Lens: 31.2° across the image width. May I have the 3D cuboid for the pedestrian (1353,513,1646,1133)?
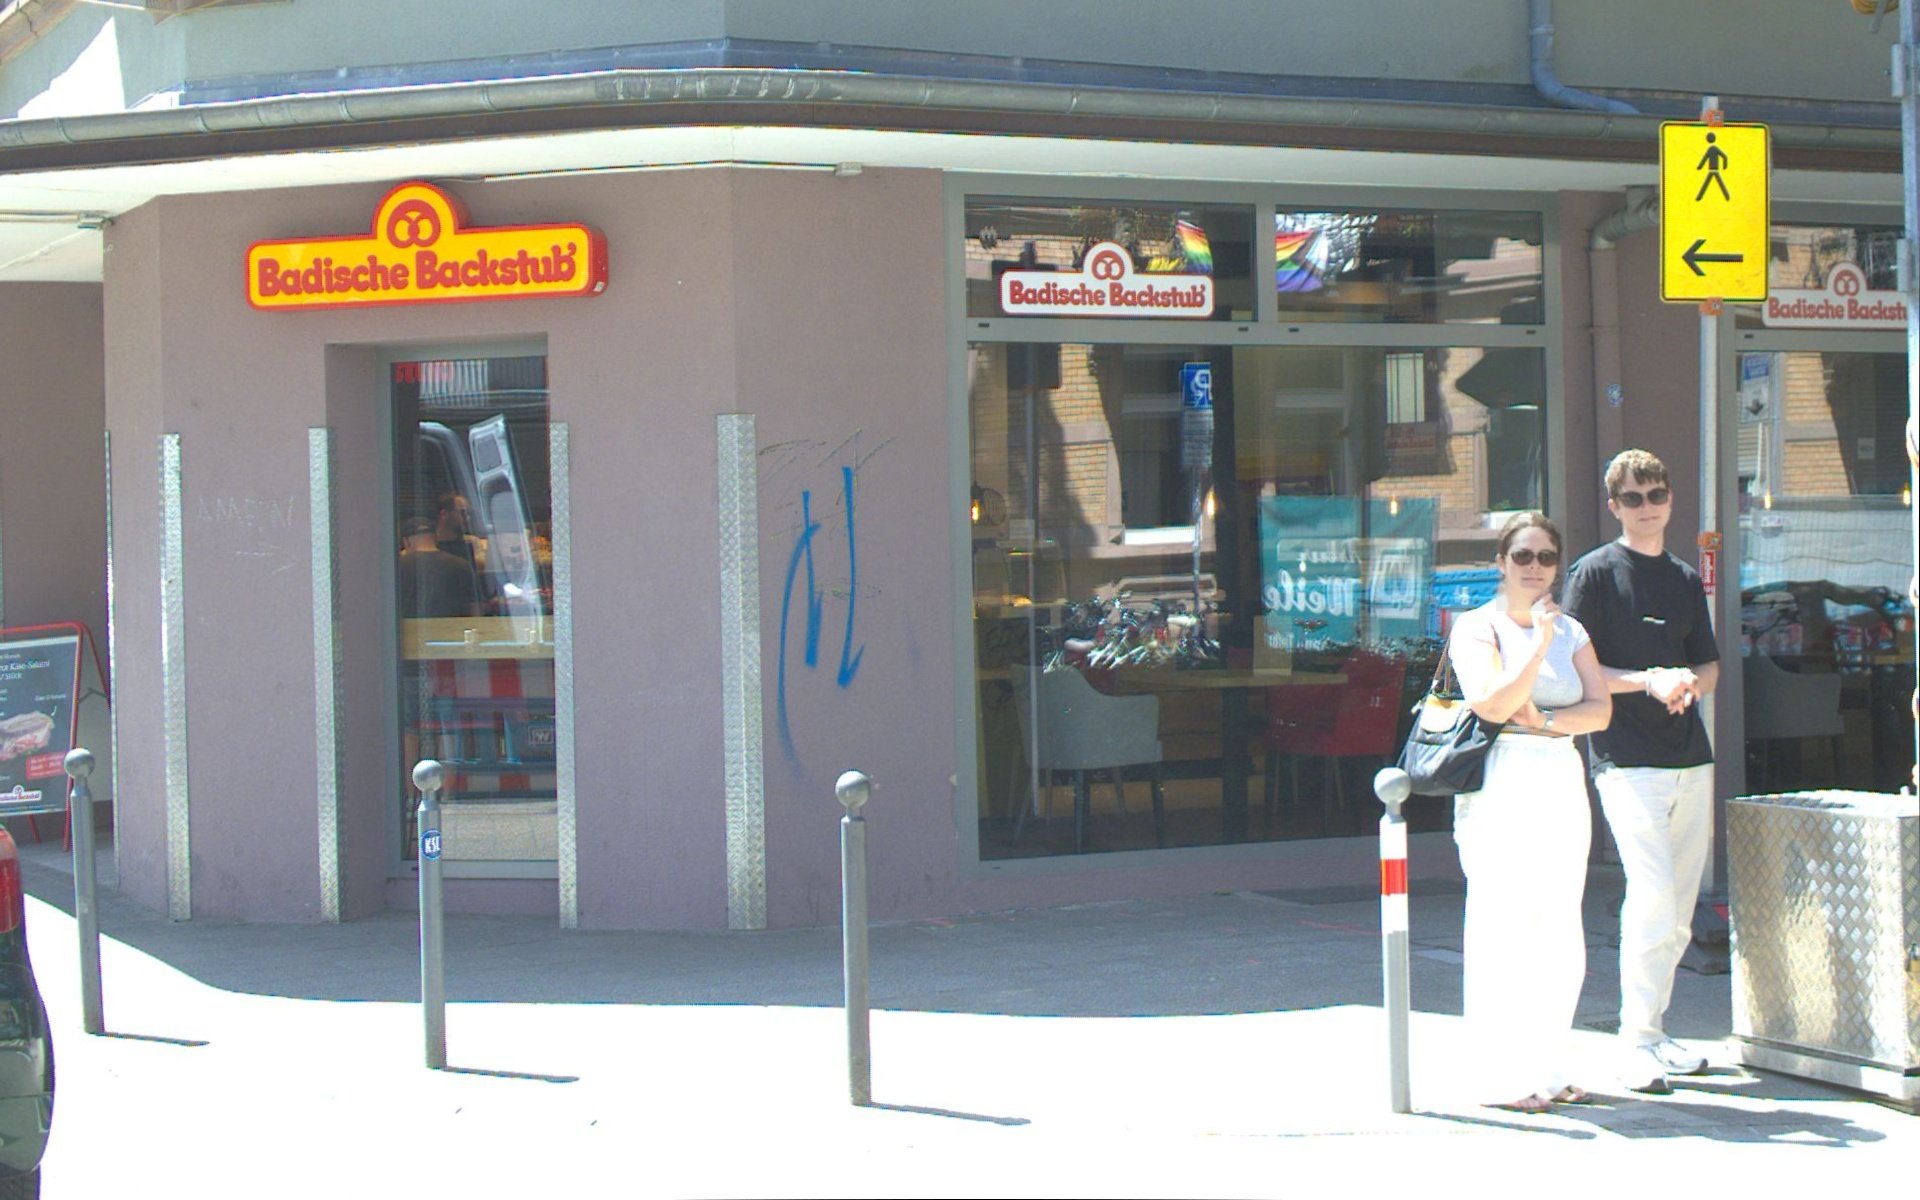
[{"bbox_3d":[1.520,0.598,9.661,0.701,1.639,0.423,-4,5,-34],"label":"pedestrian"}]

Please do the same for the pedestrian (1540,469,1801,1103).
[{"bbox_3d":[2.074,0.516,10.027,0.575,1.762,0.471,-4,5,-34],"label":"pedestrian"}]

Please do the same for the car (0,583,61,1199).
[{"bbox_3d":[-3.242,0.719,7.685,1.613,1.480,3.241,0,0,-29],"label":"car"}]
